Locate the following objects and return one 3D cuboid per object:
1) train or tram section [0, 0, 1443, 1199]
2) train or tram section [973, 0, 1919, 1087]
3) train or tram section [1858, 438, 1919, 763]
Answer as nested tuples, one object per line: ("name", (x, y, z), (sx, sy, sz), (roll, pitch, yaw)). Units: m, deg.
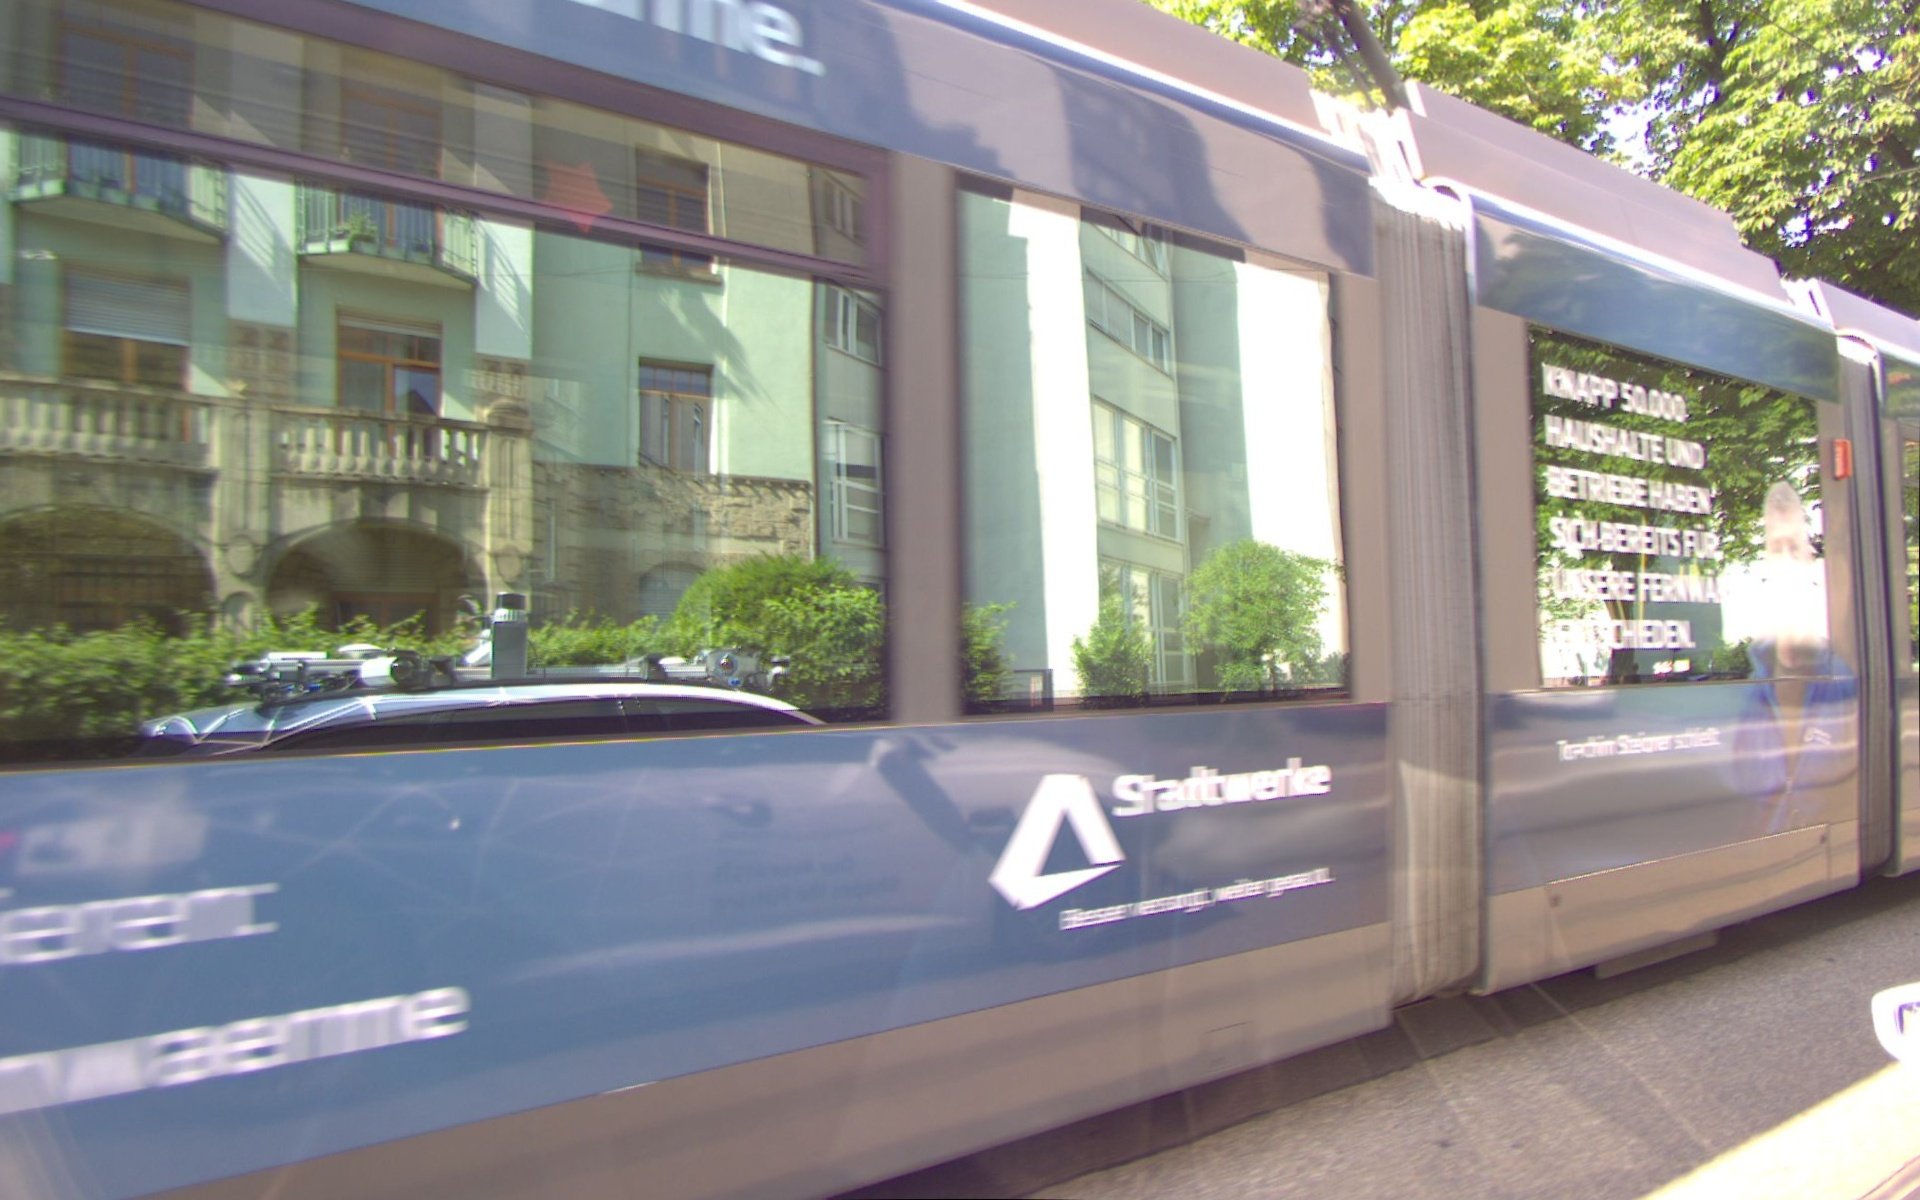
("train or tram section", (-4.520, -0.289, 1.051), (12.169, 3.481, 2.641), (2, -3, -30))
("train or tram section", (5.608, -0.124, 6.942), (11.337, 3.433, 2.641), (2, -3, -30))
("train or tram section", (16.488, 0.134, 13.247), (13.941, 3.400, 2.641), (2, -3, -30))
